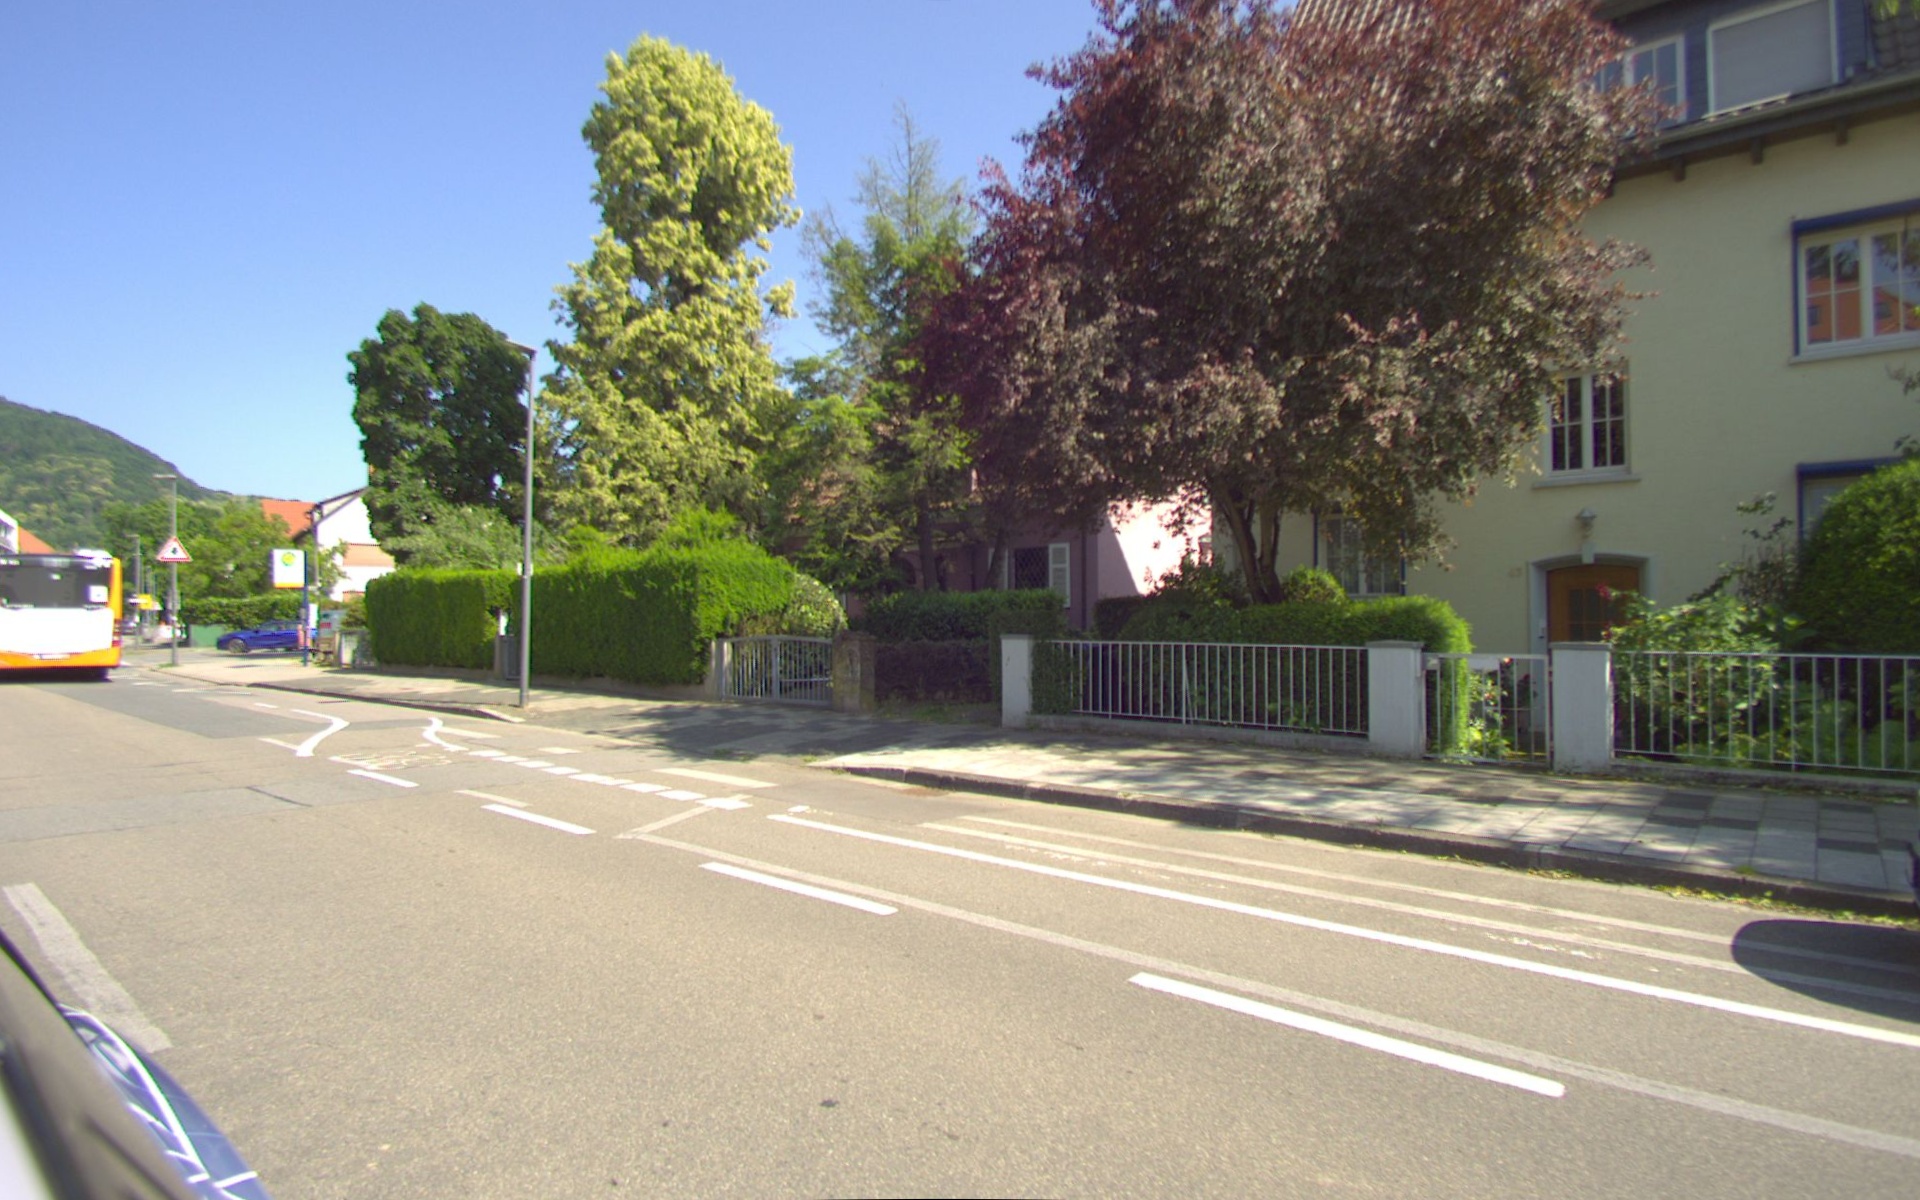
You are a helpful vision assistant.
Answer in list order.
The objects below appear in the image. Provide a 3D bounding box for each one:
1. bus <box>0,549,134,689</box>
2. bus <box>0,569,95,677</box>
[{"bbox_3d":[-24.752,0.590,27.293,9.782,3.199,2.714,-2,-4,45],"label":"bus"},{"bbox_3d":[-31.440,0.833,34.377,2.712,3.199,9.789,3,-3,-42],"label":"bus"}]
